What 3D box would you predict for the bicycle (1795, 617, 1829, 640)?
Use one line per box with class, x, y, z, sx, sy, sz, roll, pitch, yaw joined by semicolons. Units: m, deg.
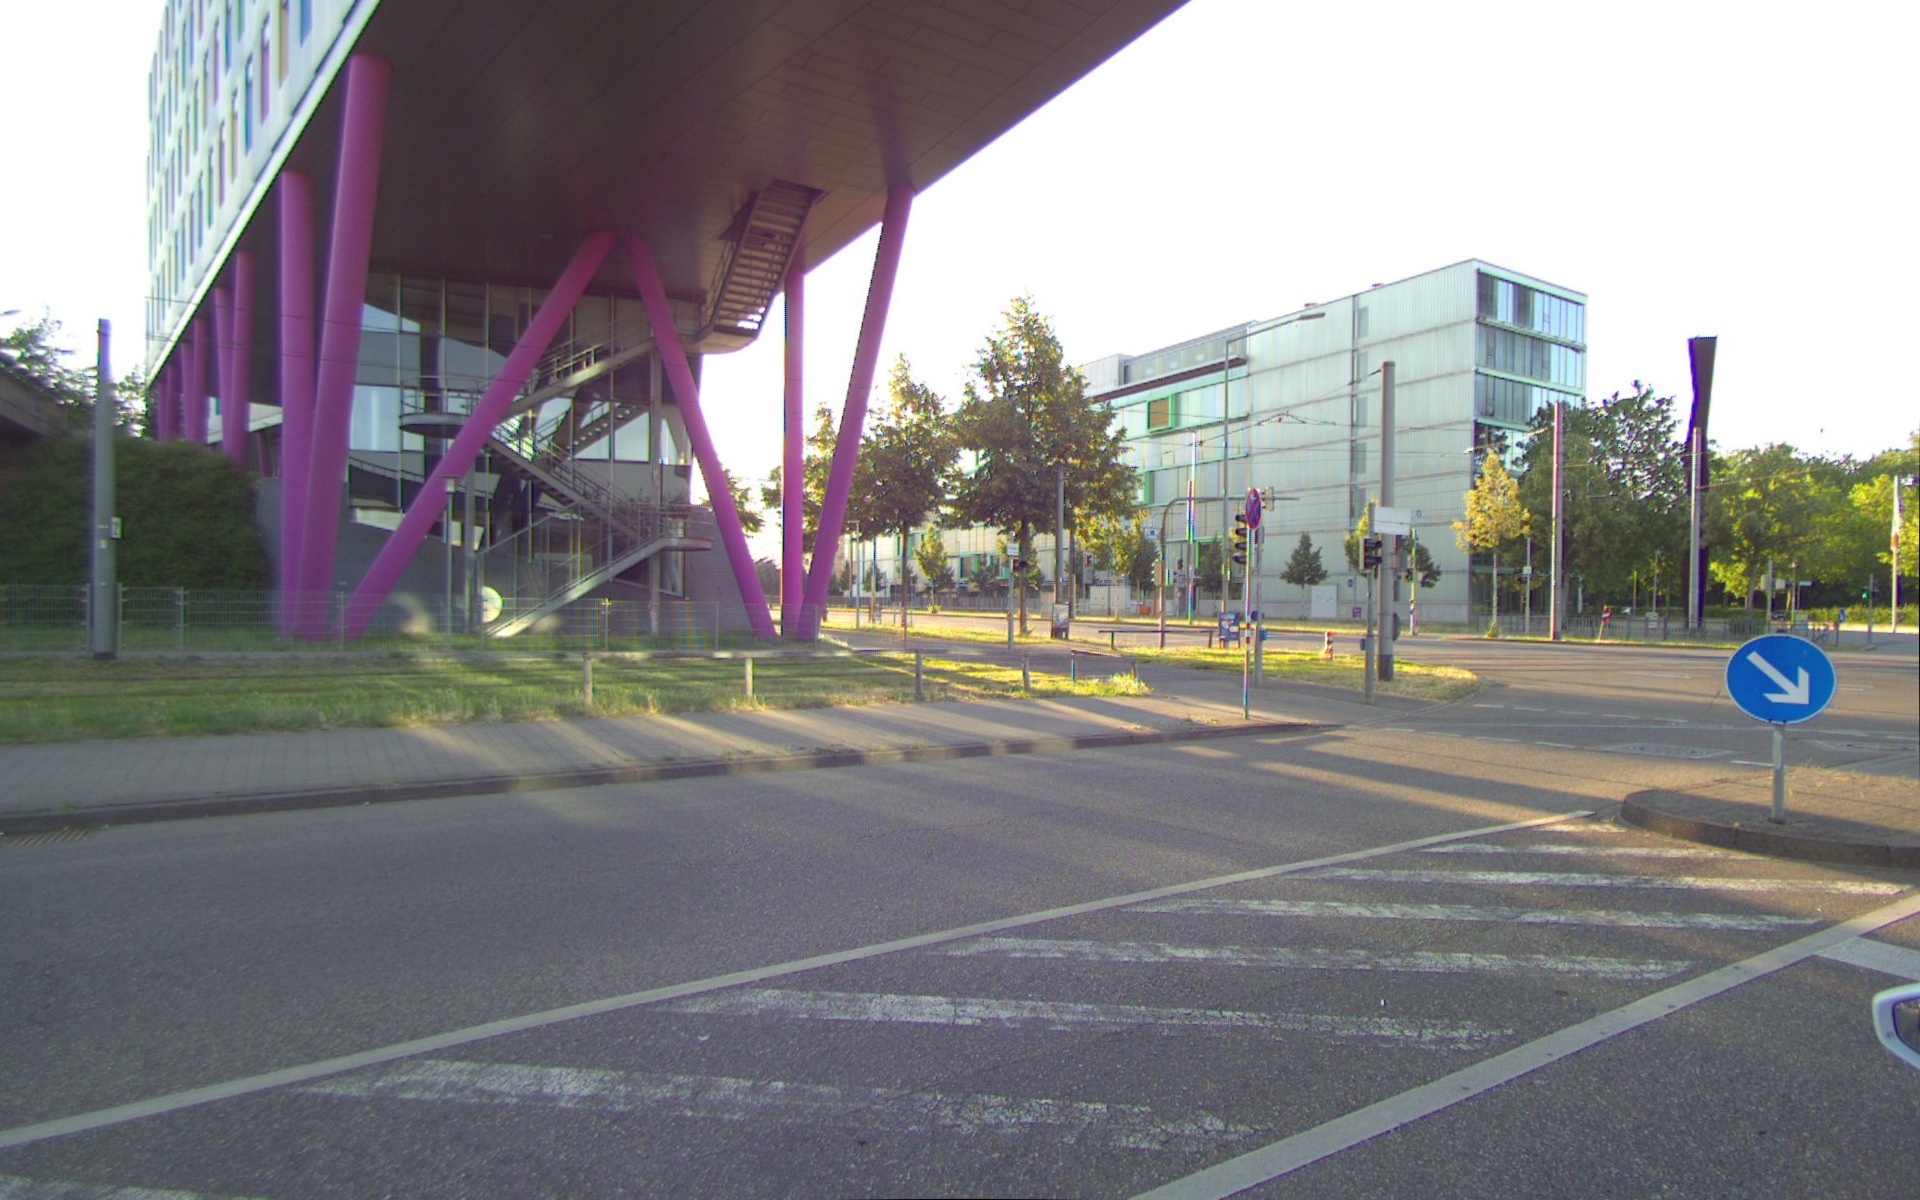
bicycle;43.887;1.468;51.739;2.367;1.151;0.695;1;0;-33
